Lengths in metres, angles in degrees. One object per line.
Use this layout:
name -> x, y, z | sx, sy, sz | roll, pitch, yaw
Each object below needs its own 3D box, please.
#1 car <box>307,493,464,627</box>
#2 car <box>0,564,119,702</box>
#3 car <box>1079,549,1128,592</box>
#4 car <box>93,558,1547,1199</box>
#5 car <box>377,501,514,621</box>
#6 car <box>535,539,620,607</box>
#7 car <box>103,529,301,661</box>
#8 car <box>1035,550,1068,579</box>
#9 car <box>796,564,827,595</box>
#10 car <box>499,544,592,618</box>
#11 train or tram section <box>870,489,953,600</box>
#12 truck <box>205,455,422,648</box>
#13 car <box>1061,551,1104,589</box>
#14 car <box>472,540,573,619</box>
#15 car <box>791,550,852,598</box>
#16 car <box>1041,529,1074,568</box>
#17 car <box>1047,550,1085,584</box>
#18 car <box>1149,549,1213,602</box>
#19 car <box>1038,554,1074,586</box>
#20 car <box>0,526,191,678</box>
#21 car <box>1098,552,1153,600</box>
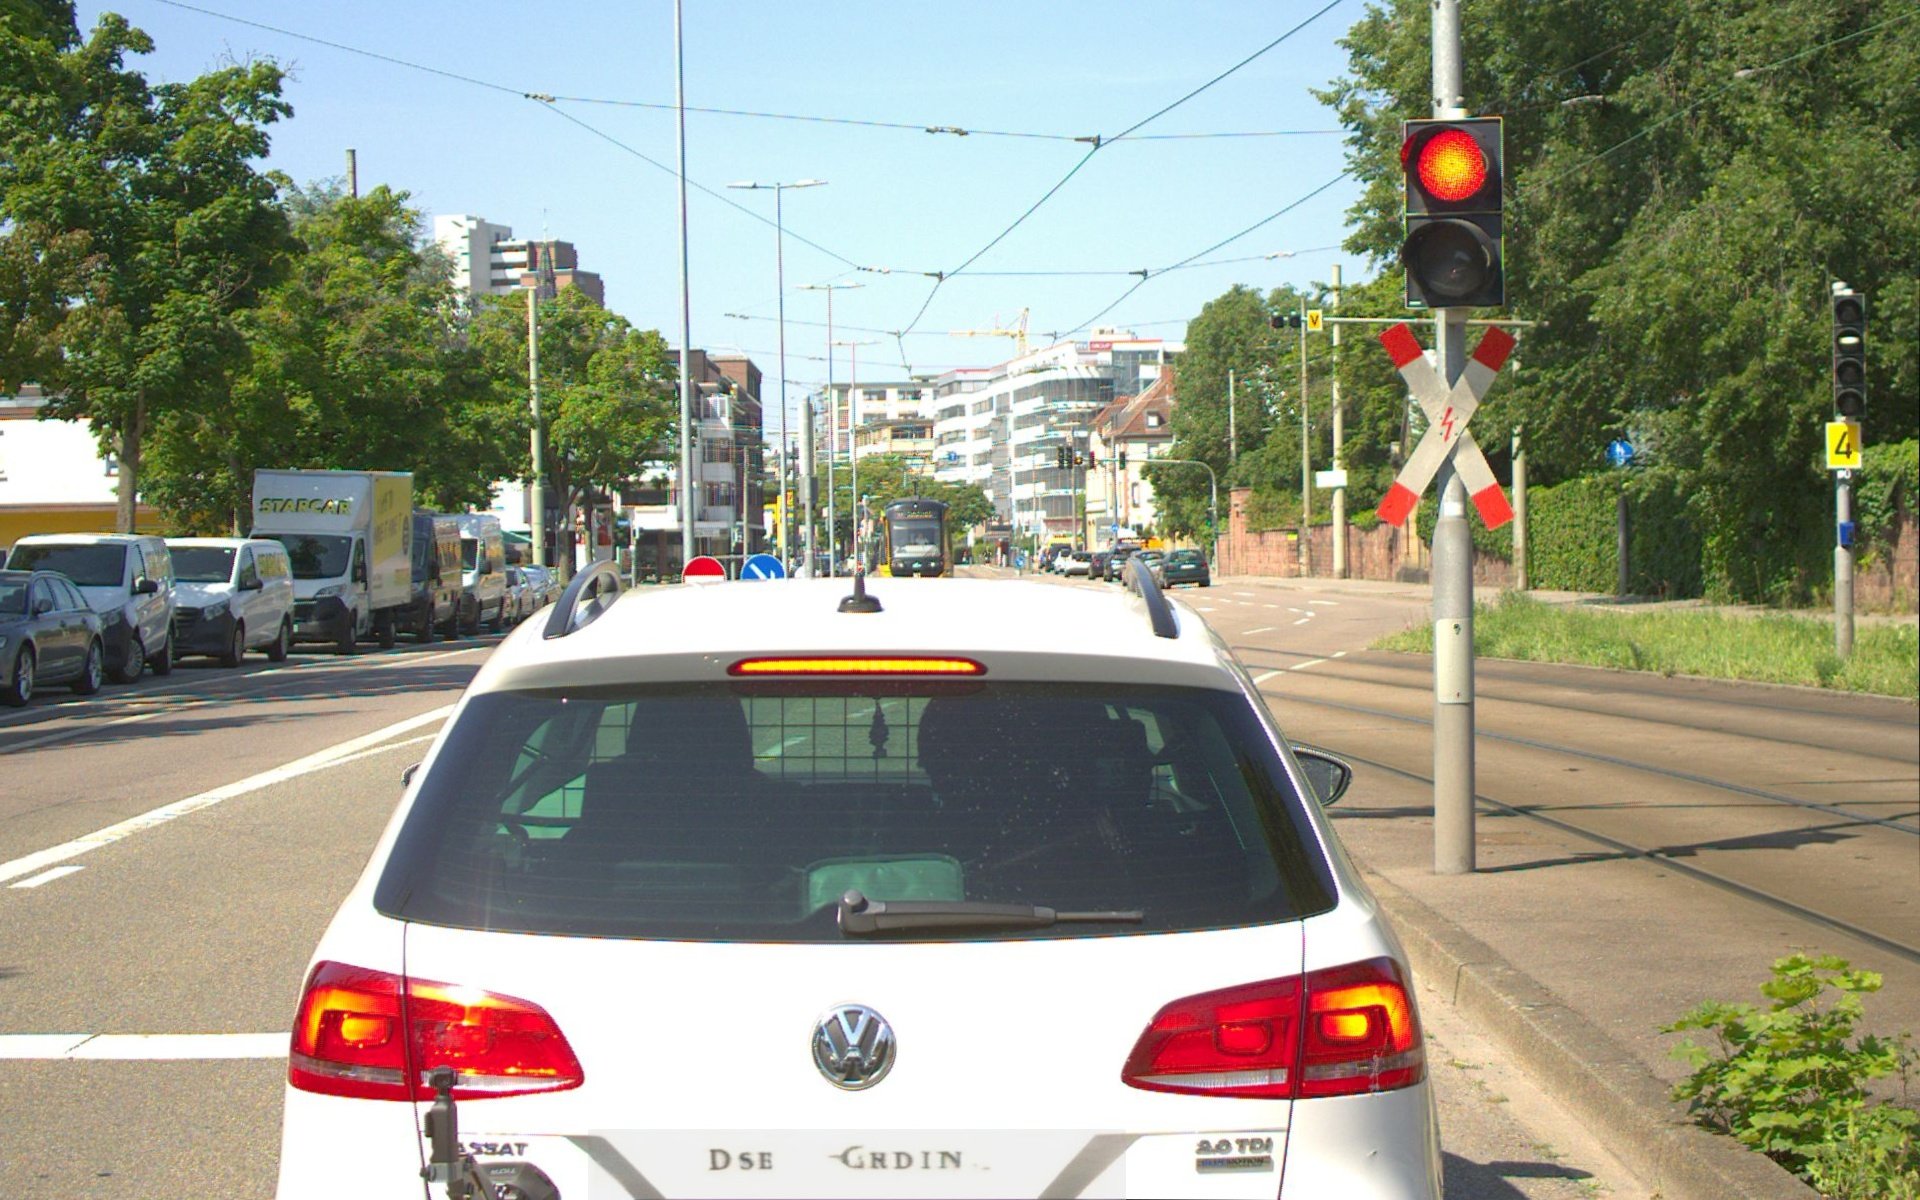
car -> -11.357, -0.811, 68.332 | 2.123, 2.508, 5.733 | 1, 1, 0
car -> -10.907, 0.329, 38.736 | 1.863, 1.411, 4.280 | 1, 1, -1
car -> 6.552, -1.367, 157.433 | 1.863, 1.861, 5.062 | 1, 1, -1
car -> -0.184, 0.673, 6.218 | 1.762, 1.425, 4.000 | -1, 1, -1
car -> -11.278, -0.882, 75.768 | 2.123, 2.508, 5.733 | 1, 1, 0
car -> -10.938, -0.813, 98.612 | 1.863, 1.861, 5.414 | 1, 1, -1
car -> -11.369, -0.125, 51.916 | 1.863, 1.861, 5.414 | 1, 1, -1
car -> 6.040, -2.337, 227.024 | 1.863, 1.861, 5.062 | 1, 1, -1
car -> -9.251, -1.281, 214.681 | 1.762, 1.889, 4.914 | 1, 1, -1
car -> -11.020, -0.528, 91.699 | 1.863, 1.861, 5.414 | 1, 1, -1
train or tram section -> -1.788, -2.084, 127.805 | 2.870, 3.842, 12.392 | -1, 1, -1
truck -> -11.237, -0.869, 60.330 | 2.421, 3.139, 6.997 | 1, 1, 0
car -> 6.201, -1.547, 174.276 | 1.863, 1.861, 5.062 | 1, 1, -1
car -> -10.769, -0.539, 84.883 | 1.863, 1.861, 5.414 | 1, 1, -1
car -> -4.488, -0.855, 112.219 | 1.705, 1.468, 4.589 | -2, 1, 1
car -> 7.118, -3.759, 251.002 | 2.056, 2.750, 5.632 | 1, 1, -1
car -> 6.054, -1.923, 197.549 | 1.863, 1.861, 5.062 | 1, 1, -1
car -> 8.085, -0.912, 126.255 | 1.863, 1.861, 5.062 | 1, 1, -1
car -> 5.861, -1.867, 210.639 | 1.863, 1.861, 5.062 | 1, 1, -1
car -> -11.404, -0.029, 45.332 | 1.863, 1.861, 5.075 | 1, 1, -6
car -> 6.788, -1.004, 141.540 | 1.863, 1.861, 5.062 | 1, 1, -1
